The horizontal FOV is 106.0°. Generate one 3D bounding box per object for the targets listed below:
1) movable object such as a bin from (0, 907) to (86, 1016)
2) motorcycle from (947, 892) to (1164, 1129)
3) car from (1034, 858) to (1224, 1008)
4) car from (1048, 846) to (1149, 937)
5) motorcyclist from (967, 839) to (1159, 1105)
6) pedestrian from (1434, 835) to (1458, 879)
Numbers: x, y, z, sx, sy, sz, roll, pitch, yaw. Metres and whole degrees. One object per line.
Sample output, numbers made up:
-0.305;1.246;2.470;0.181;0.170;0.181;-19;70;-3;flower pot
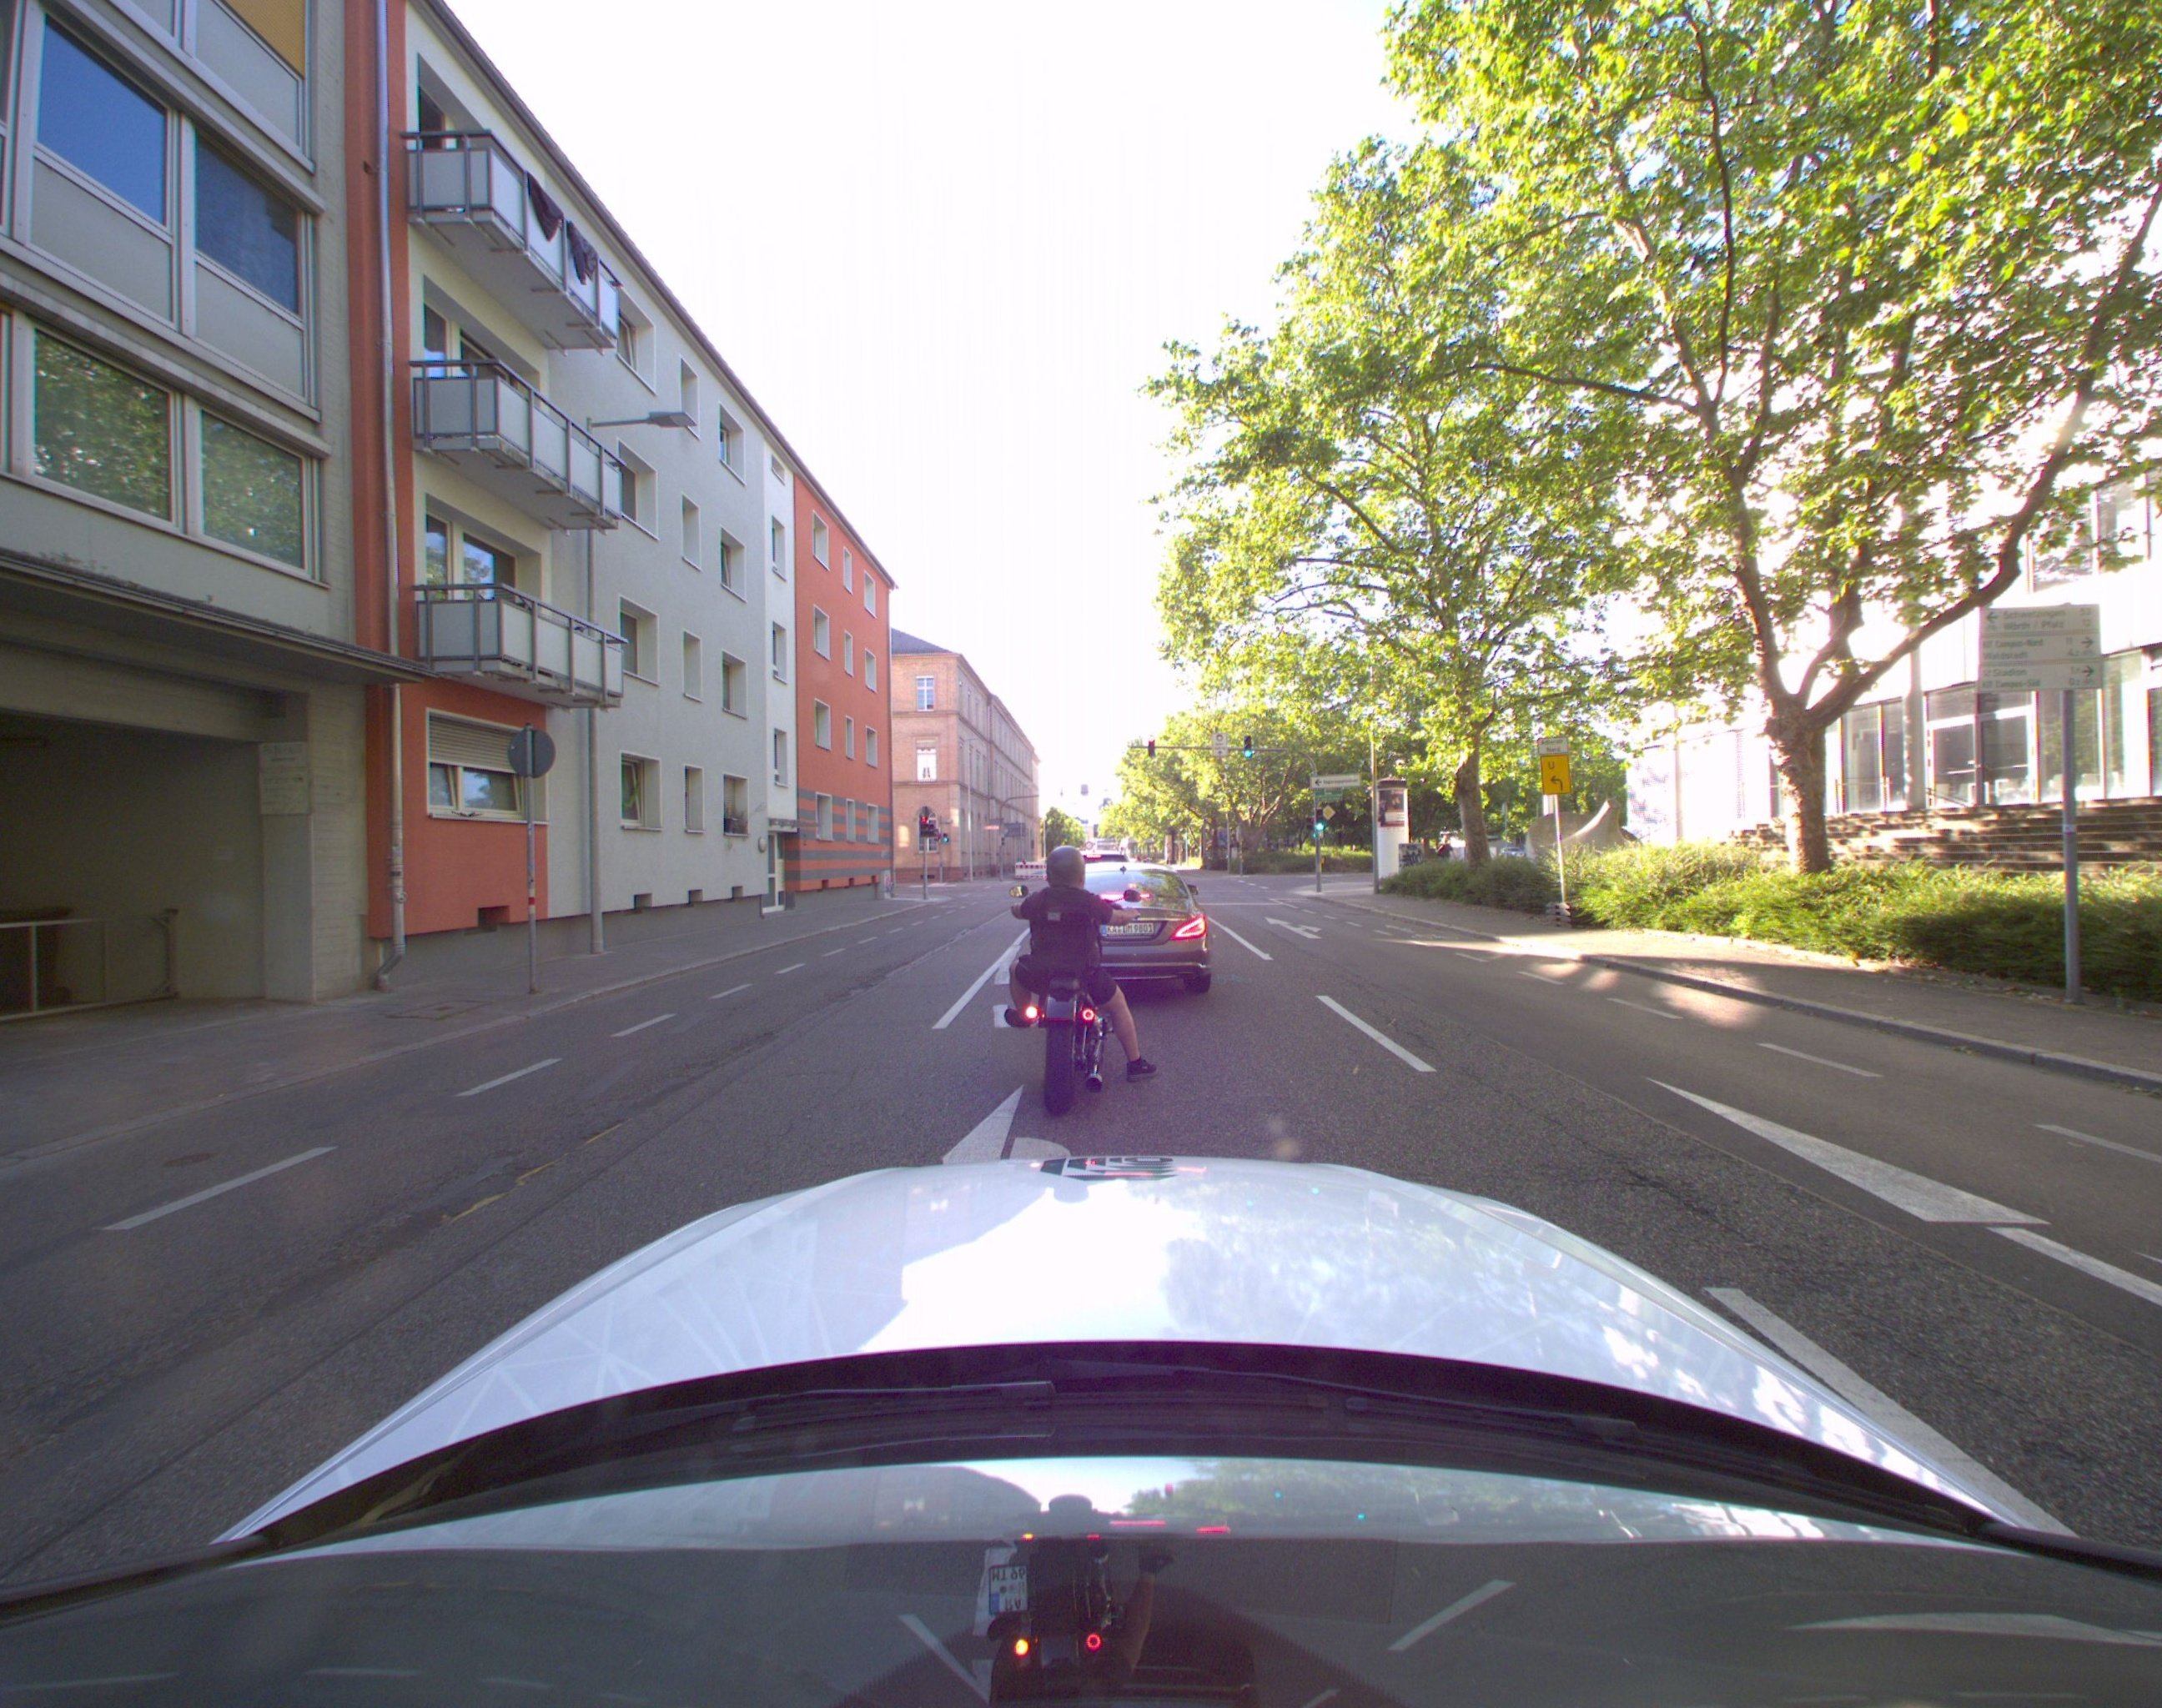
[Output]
-11.281;1.119;8.640;0.533;1.079;0.723;0;-1;3;movable object such as a bin
-0.038;0.910;5.616;1.111;1.207;2.217;-1;-1;8;motorcycle
0.523;0.778;9.773;1.815;1.437;3.807;0;-1;2;car
0.384;0.710;17.061;1.856;1.678;4.001;0;-1;2;car
-0.067;0.703;5.397;1.093;1.566;1.074;-1;-1;8;motorcyclist
15.025;0.140;33.522;0.731;1.778;0.731;-1;-1;10;pedestrian
